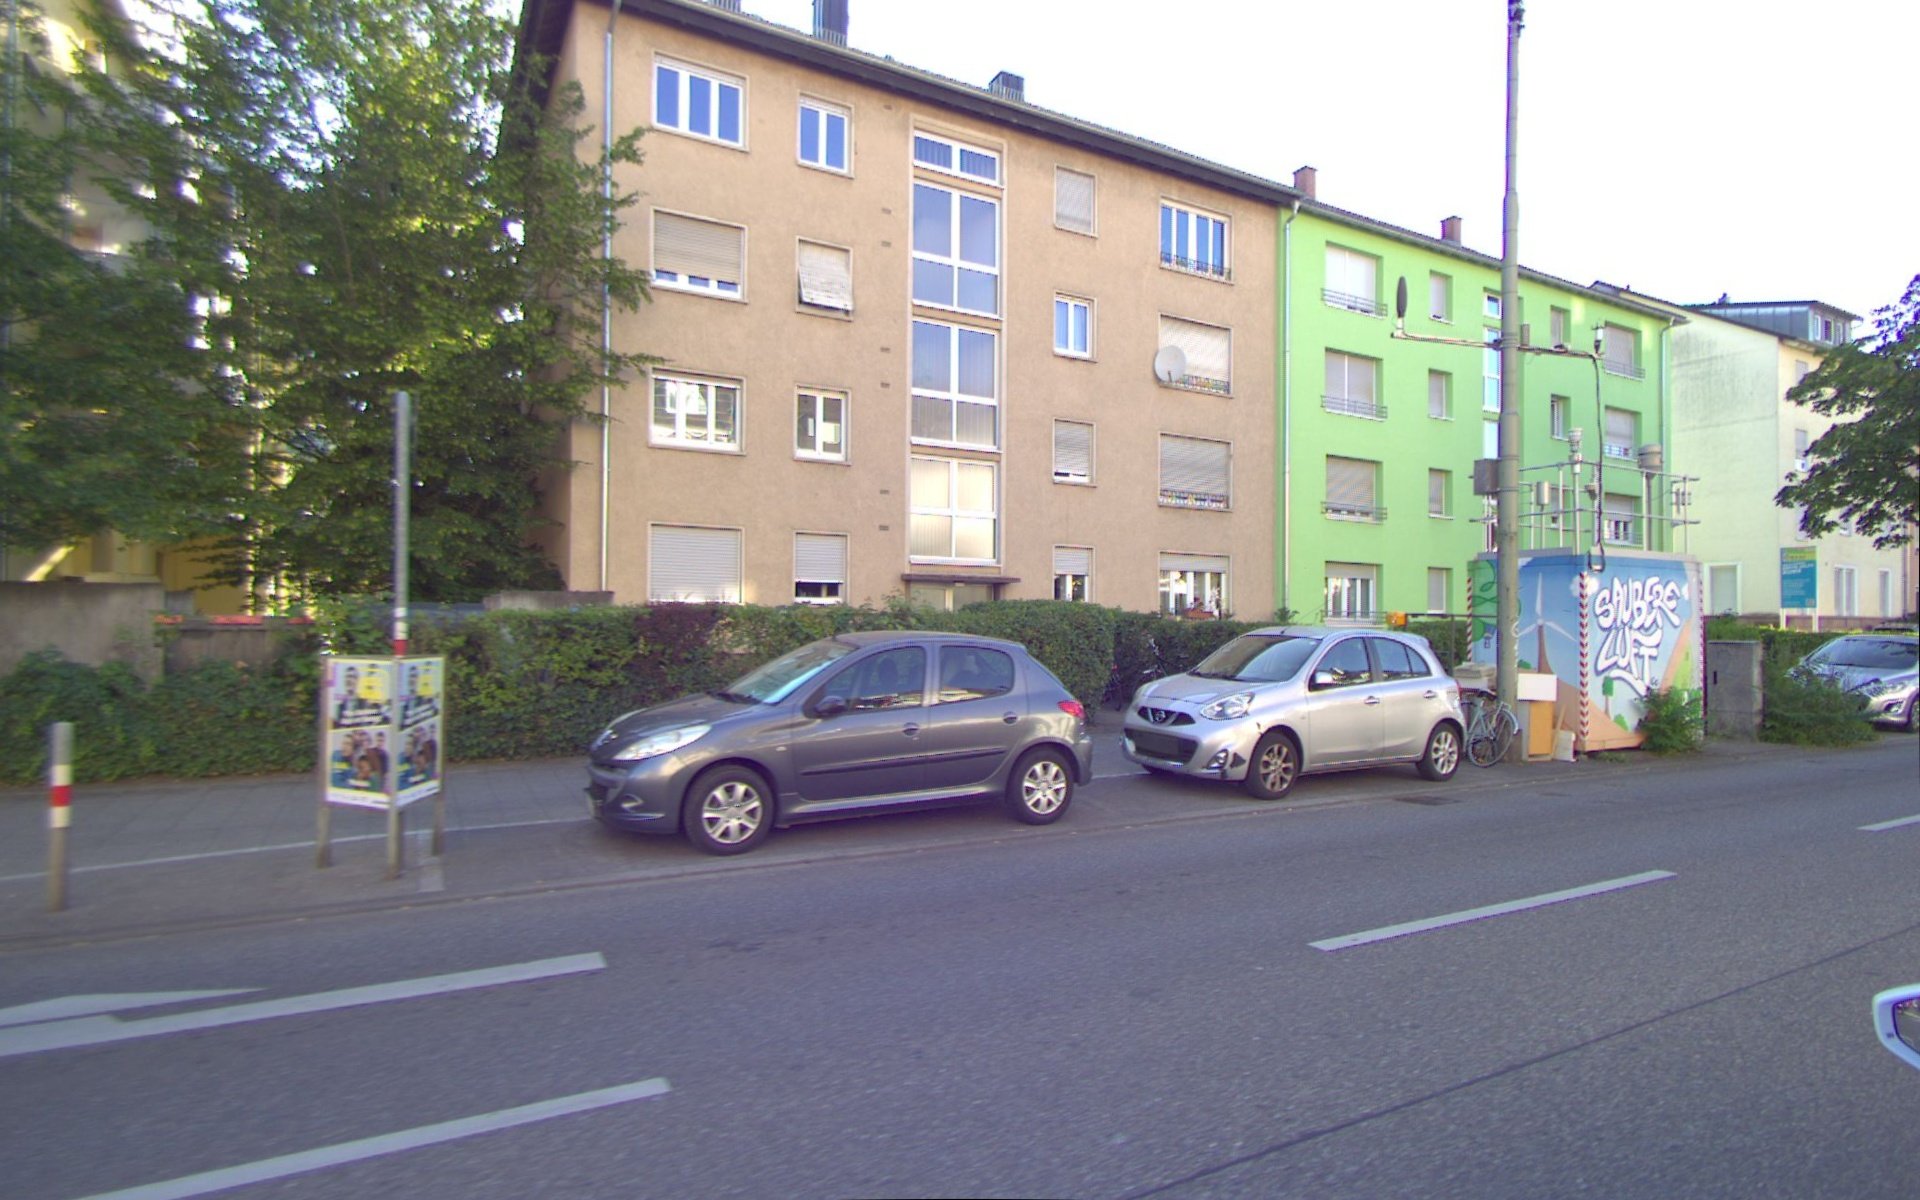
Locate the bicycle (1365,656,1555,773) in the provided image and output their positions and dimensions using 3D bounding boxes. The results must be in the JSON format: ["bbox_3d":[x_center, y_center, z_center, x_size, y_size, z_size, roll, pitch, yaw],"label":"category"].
[{"bbox_3d":[5.764,1.277,11.722,0.576,1.104,1.997,1,1,-28],"label":"bicycle"}]

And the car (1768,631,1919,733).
[{"bbox_3d":[15.736,1.320,17.204,4.143,1.541,1.674,1,-1,-31],"label":"car"}]

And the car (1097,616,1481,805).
[{"bbox_3d":[3.358,0.977,10.088,3.743,1.572,1.629,1,-1,-31],"label":"car"}]

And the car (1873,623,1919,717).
[{"bbox_3d":[20.012,1.355,19.695,4.561,1.755,1.776,1,-1,-29],"label":"car"}]

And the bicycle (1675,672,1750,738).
[{"bbox_3d":[11.059,1.526,14.745,1.528,0.873,0.369,1,0,-33],"label":"bicycle"}]

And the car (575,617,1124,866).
[{"bbox_3d":[-0.794,0.908,7.749,3.894,1.499,1.647,1,-1,-28],"label":"car"}]

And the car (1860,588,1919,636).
[{"bbox_3d":[35.495,0.472,37.424,3.953,1.705,1.819,2,-1,-30],"label":"car"}]
